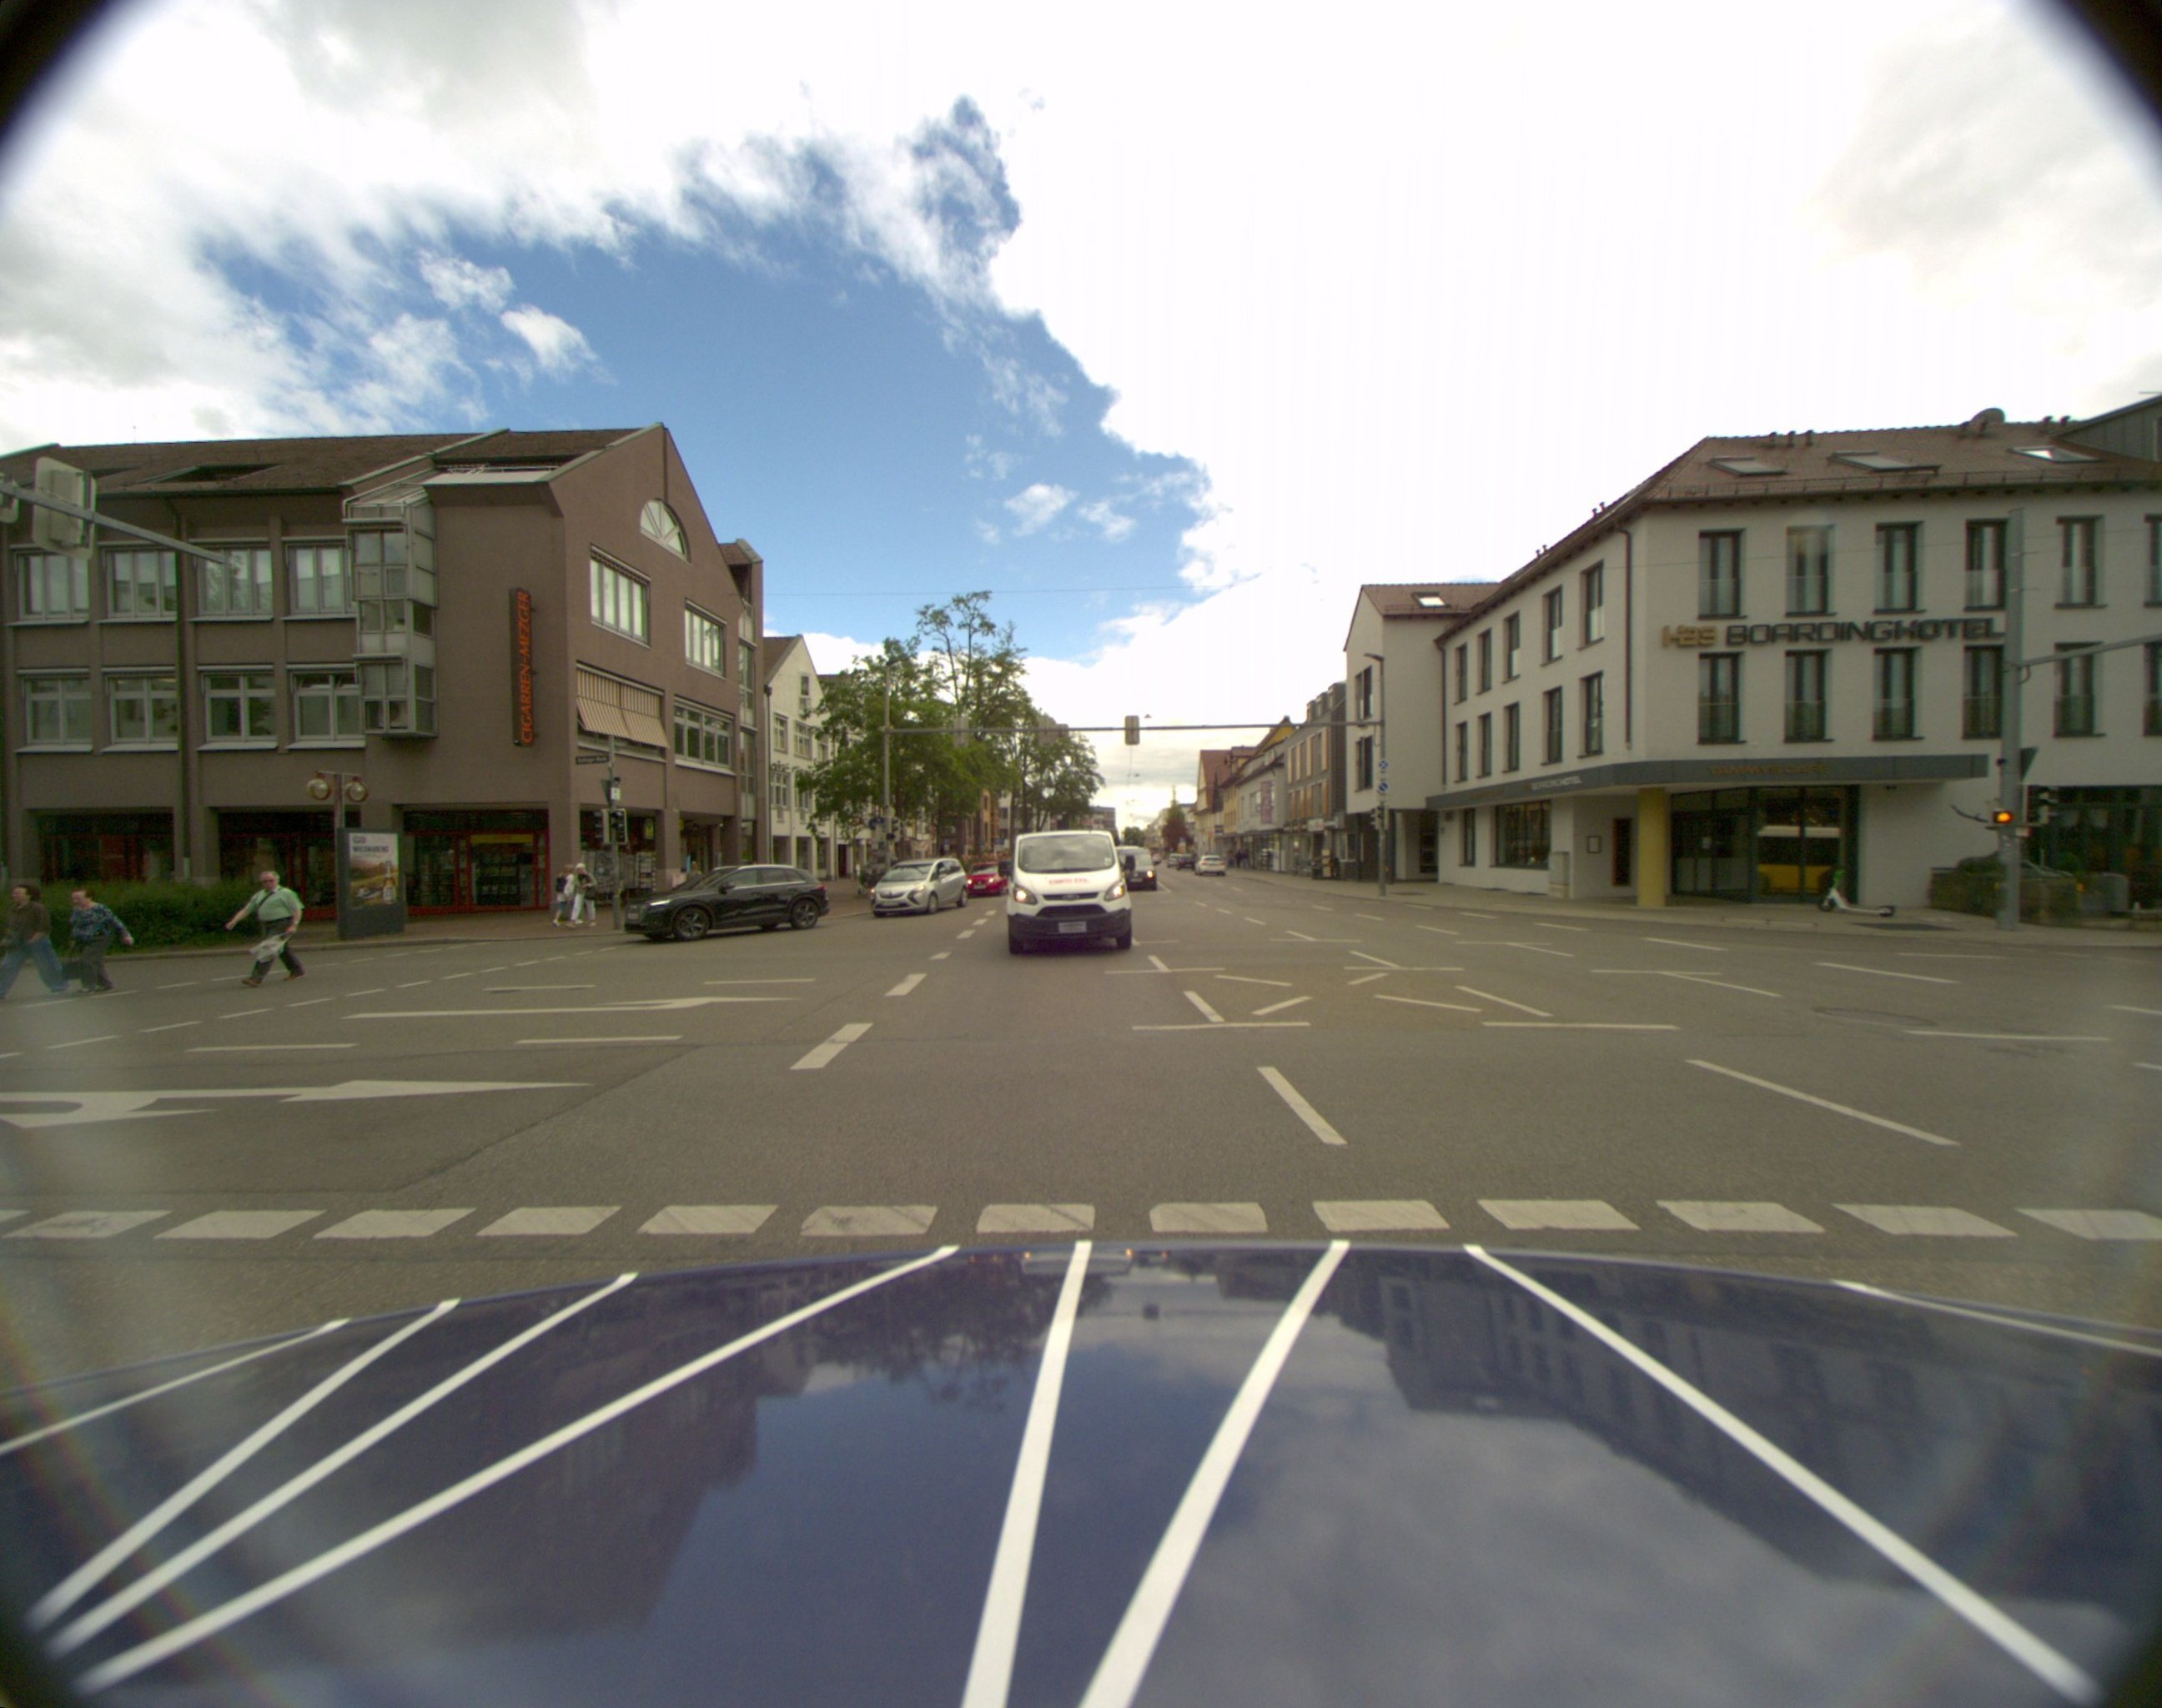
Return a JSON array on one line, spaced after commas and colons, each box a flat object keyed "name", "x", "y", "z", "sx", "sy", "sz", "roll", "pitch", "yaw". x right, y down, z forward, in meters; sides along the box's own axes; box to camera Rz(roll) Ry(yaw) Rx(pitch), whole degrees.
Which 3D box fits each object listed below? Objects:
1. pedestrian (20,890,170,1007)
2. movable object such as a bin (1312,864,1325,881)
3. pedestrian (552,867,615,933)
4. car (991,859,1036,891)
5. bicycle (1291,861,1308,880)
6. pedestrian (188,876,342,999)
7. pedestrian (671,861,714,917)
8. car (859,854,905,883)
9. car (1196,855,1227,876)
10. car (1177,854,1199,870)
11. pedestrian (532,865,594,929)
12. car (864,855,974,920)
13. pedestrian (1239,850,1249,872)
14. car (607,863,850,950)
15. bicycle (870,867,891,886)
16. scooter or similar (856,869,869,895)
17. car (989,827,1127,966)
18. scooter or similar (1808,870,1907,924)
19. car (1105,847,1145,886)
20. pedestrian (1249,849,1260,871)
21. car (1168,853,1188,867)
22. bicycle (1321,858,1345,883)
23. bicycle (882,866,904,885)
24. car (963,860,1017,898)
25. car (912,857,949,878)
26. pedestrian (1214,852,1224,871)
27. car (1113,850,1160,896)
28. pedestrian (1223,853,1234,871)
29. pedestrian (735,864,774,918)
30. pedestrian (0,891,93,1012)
[{"name": "pedestrian", "x": -14.123, "y": 1.321, "z": 10.917, "sx": 0.832, "sy": 1.549, "sz": 0.969, "roll": -1, "pitch": 1, "yaw": 3}, {"name": "movable object such as a bin", "x": 13.065, "y": 1.033, "z": 41.840, "sx": 0.552, "sy": 0.894, "sz": 0.507, "roll": -1, "pitch": 1, "yaw": 2}, {"name": "pedestrian", "x": -12.669, "y": 1.152, "z": 19.363, "sx": 0.810, "sy": 1.617, "sz": 1.094, "roll": 0, "pitch": 0, "yaw": 6}, {"name": "car", "x": -3.511, "y": 1.067, "z": 40.163, "sx": 1.801, "sy": 1.521, "sz": 4.000, "roll": -3, "pitch": 0, "yaw": 2}, {"name": "bicycle", "x": 13.179, "y": 0.963, "z": 45.929, "sx": 0.573, "sy": 1.094, "sz": 1.903, "roll": -1, "pitch": 0, "yaw": 4}, {"name": "pedestrian", "x": -12.209, "y": 1.211, "z": 11.423, "sx": 1.058, "sy": 1.705, "sz": 1.110, "roll": -1, "pitch": 1, "yaw": 3}, {"name": "pedestrian", "x": -11.363, "y": 1.009, "z": 22.263, "sx": 0.743, "sy": 1.617, "sz": 0.953, "roll": 0, "pitch": 1, "yaw": 0}, {"name": "car", "x": -12.805, "y": 0.893, "z": 49.099, "sx": 1.738, "sy": 1.793, "sz": 4.261, "roll": 0, "pitch": 0, "yaw": 1}, {"name": "car", "x": 9.330, "y": 0.822, "z": 54.682, "sx": 1.748, "sy": 1.450, "sz": 4.236, "roll": 0, "pitch": 0, "yaw": 4}, {"name": "car", "x": 10.110, "y": 0.747, "z": 72.132, "sx": 1.748, "sy": 1.450, "sz": 3.819, "roll": 0, "pitch": 0, "yaw": 4}, {"name": "pedestrian", "x": -13.529, "y": 1.100, "z": 19.871, "sx": 0.823, "sy": 1.586, "sz": 1.039, "roll": -1, "pitch": 1, "yaw": 4}, {"name": "car", "x": -4.886, "y": 0.956, "z": 23.609, "sx": 1.742, "sy": 1.691, "sz": 4.384, "roll": -3, "pitch": 0, "yaw": 10}, {"name": "pedestrian", "x": 13.526, "y": 0.546, "z": 63.013, "sx": 0.708, "sy": 1.828, "sz": 1.028, "roll": -1, "pitch": 1, "yaw": 5}, {"name": "car", "x": -8.061, "y": 1.122, "z": 17.897, "sx": 1.852, "sy": 1.600, "sz": 4.870, "roll": -2, "pitch": 0, "yaw": 34}, {"name": "bicycle", "x": -11.136, "y": 1.239, "z": 42.153, "sx": 0.407, "sy": 1.042, "sz": 1.565, "roll": -2, "pitch": 1, "yaw": -45}, {"name": "scooter or similar", "x": -9.897, "y": 1.256, "z": 34.479, "sx": 0.471, "sy": 1.081, "sz": 1.885, "roll": -1, "pitch": 1, "yaw": -14}, {"name": "car", "x": -0.164, "y": 0.614, "z": 14.113, "sx": 1.939, "sy": 1.968, "sz": 5.781, "roll": -3, "pitch": 0, "yaw": 4}, {"name": "scooter or similar", "x": 18.644, "y": 1.013, "z": 18.274, "sx": 0.427, "sy": 1.152, "sz": 1.569, "roll": -1, "pitch": 3, "yaw": -38}, {"name": "car", "x": 2.492, "y": 0.641, "z": 42.750, "sx": 1.998, "sy": 2.002, "sz": 4.841, "roll": -2, "pitch": 0, "yaw": 4}, {"name": "pedestrian", "x": 14.352, "y": 0.474, "z": 62.897, "sx": 0.708, "sy": 1.771, "sz": 0.870, "roll": -1, "pitch": 1, "yaw": 5}, {"name": "car", "x": 11.059, "y": 0.670, "z": 86.843, "sx": 1.873, "sy": 1.477, "sz": 4.001, "roll": -1, "pitch": 0, "yaw": 3}, {"name": "bicycle", "x": 13.002, "y": 0.837, "z": 39.228, "sx": 0.583, "sy": 1.225, "sz": 2.119, "roll": -1, "pitch": 0, "yaw": 2}, {"name": "bicycle", "x": -10.471, "y": 1.206, "z": 42.330, "sx": 0.407, "sy": 1.042, "sz": 1.565, "roll": -2, "pitch": 1, "yaw": -45}, {"name": "car", "x": -3.961, "y": 1.057, "z": 33.567, "sx": 1.630, "sy": 1.440, "sz": 3.643, "roll": -3, "pitch": 0, "yaw": 4}, {"name": "car", "x": -11.912, "y": 1.062, "z": 60.518, "sx": 1.998, "sy": 1.539, "sz": 4.753, "roll": 0, "pitch": 1, "yaw": 0}, {"name": "pedestrian", "x": 12.362, "y": 0.662, "z": 68.117, "sx": 0.812, "sy": 1.651, "sz": 0.921, "roll": -1, "pitch": 1, "yaw": 4}, {"name": "car", "x": 2.342, "y": 0.767, "z": 33.071, "sx": 1.712, "sy": 1.810, "sz": 4.572, "roll": -3, "pitch": 0, "yaw": 1}, {"name": "pedestrian", "x": 13.233, "y": 0.687, "z": 68.039, "sx": 0.812, "sy": 1.574, "sz": 0.921, "roll": -1, "pitch": 1, "yaw": 4}, {"name": "pedestrian", "x": -10.099, "y": 1.116, "z": 23.527, "sx": 0.743, "sy": 1.617, "sz": 0.953, "roll": 0, "pitch": 1, "yaw": 0}, {"name": "pedestrian", "x": -14.982, "y": 1.340, "z": 10.650, "sx": 0.832, "sy": 1.575, "sz": 1.058, "roll": -1, "pitch": 1, "yaw": 0}]
